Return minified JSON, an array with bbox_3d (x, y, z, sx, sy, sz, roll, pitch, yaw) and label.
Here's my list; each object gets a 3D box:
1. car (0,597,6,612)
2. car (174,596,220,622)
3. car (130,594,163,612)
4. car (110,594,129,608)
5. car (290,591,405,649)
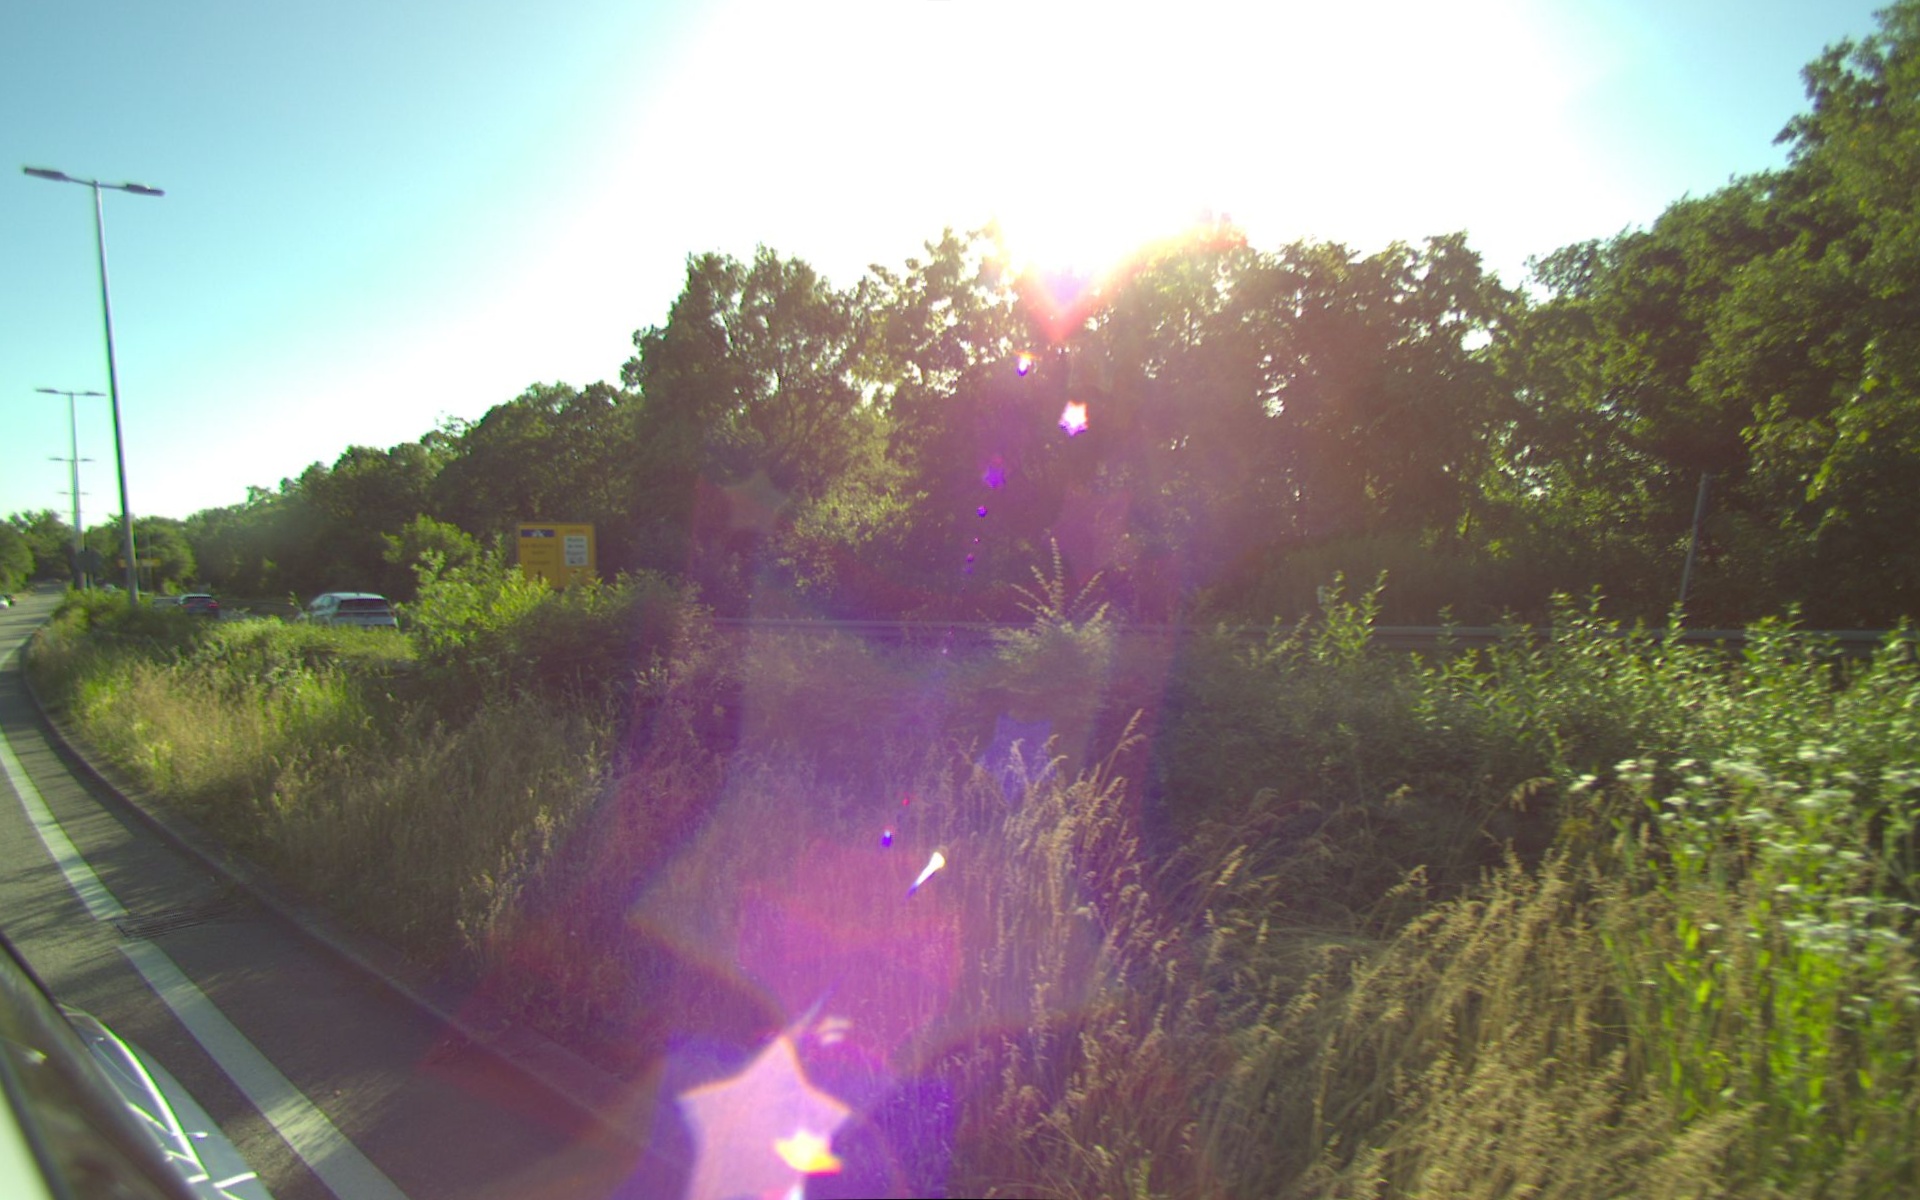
[{"bbox_3d":[-104.146,0.528,109.049,1.883,1.497,3.348,-3,1,-42],"label":"car"},{"bbox_3d":[-43.819,0.492,58.075,1.862,1.431,4.371,-1,0,-40],"label":"car"},{"bbox_3d":[-69.788,0.243,86.817,1.784,1.427,4.535,-2,1,-44],"label":"car"},{"bbox_3d":[-104.880,0.132,126.240,1.667,1.700,3.627,-3,1,-41],"label":"car"},{"bbox_3d":[-17.897,0.568,29.486,4.219,1.532,1.864,-1,1,45],"label":"car"}]
